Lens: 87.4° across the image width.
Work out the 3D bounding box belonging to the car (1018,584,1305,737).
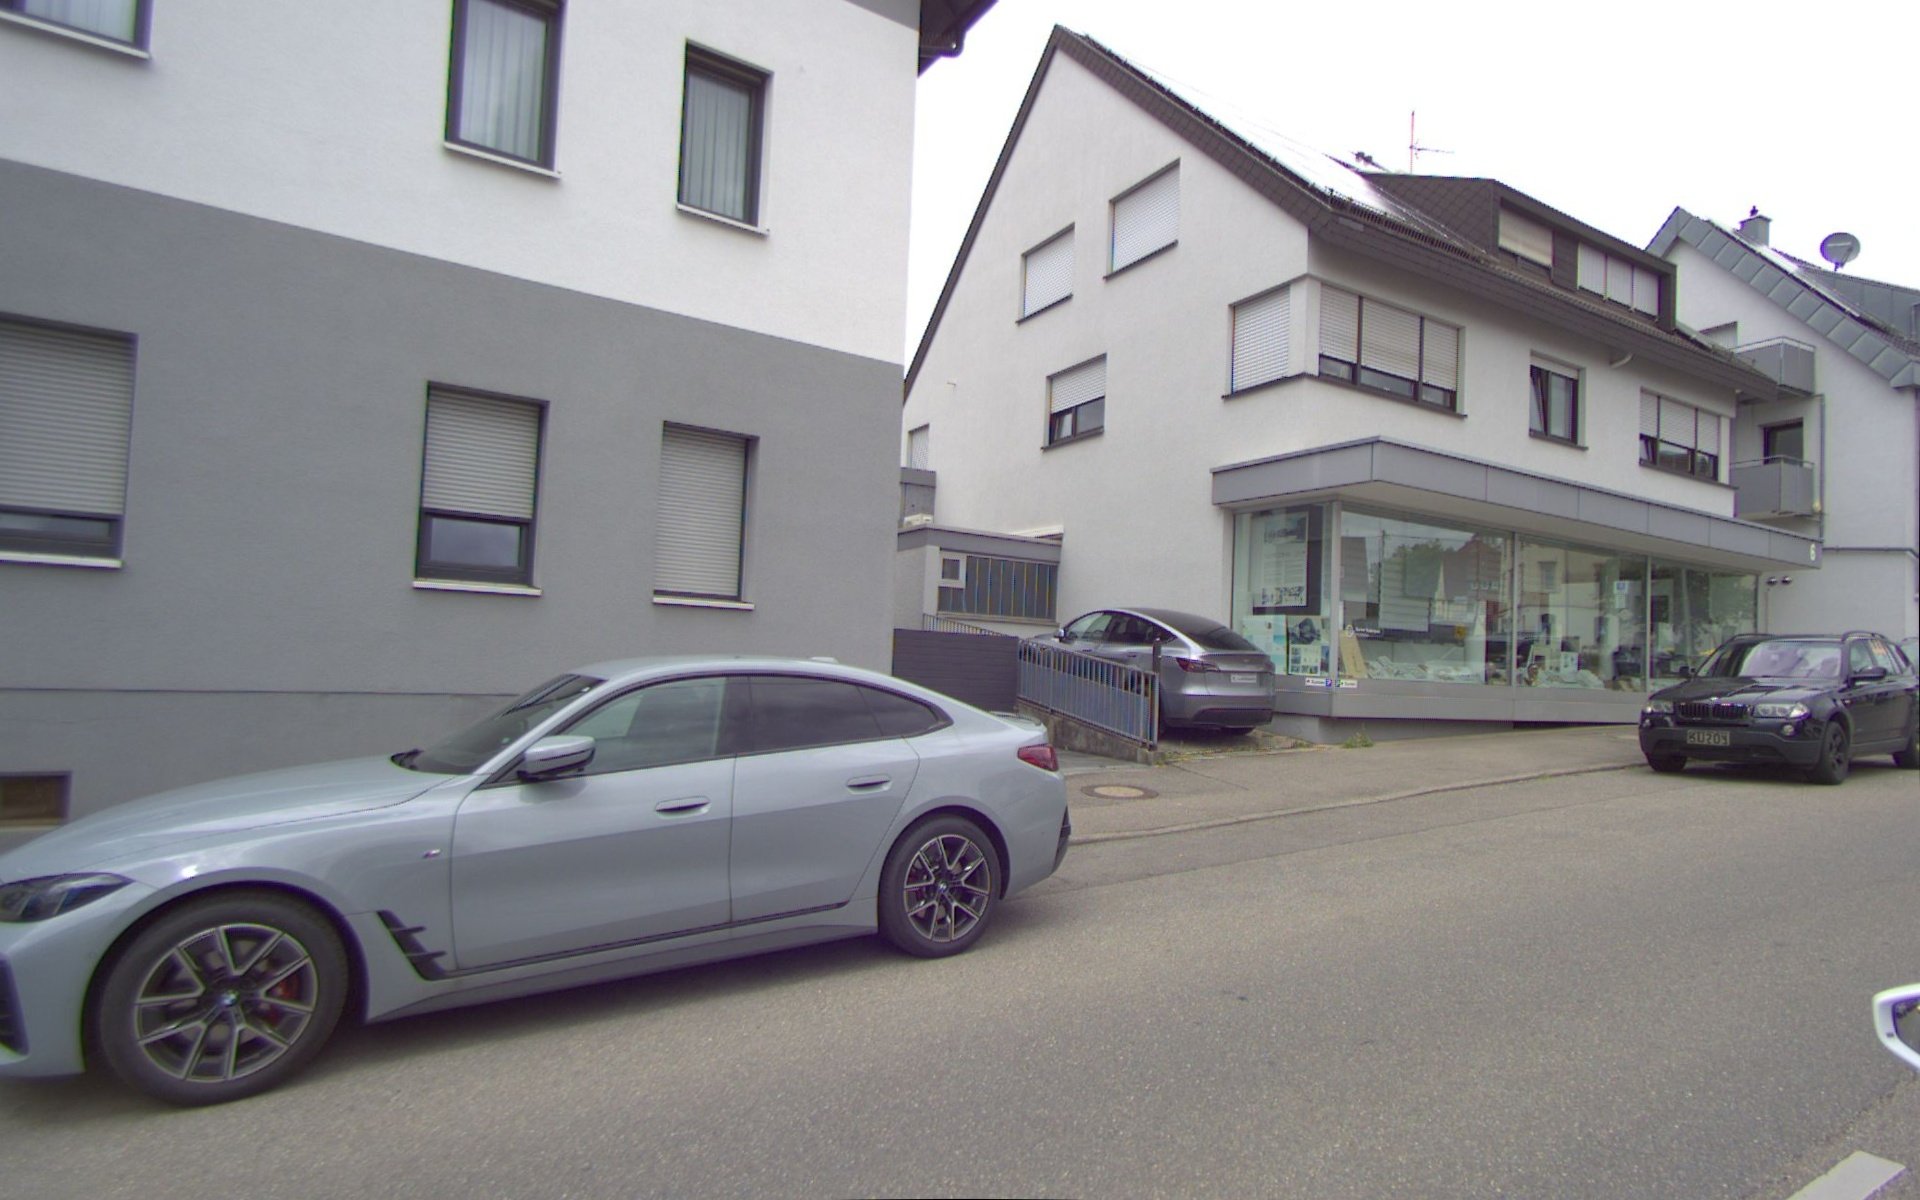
[{"bbox_3d":[2.746,0.846,14.553,1.976,1.880,3.969,2,-3,-30],"label":"car"}]

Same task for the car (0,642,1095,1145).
[{"bbox_3d":[-1.629,0.958,4.831,4.420,1.464,1.827,2,-4,-33],"label":"car"}]

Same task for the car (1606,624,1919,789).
[{"bbox_3d":[9.877,1.175,12.103,4.359,1.654,1.828,2,-4,-32],"label":"car"}]

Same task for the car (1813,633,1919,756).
[{"bbox_3d":[14.724,1.345,14.968,4.359,1.654,1.828,2,-3,-32],"label":"car"}]
